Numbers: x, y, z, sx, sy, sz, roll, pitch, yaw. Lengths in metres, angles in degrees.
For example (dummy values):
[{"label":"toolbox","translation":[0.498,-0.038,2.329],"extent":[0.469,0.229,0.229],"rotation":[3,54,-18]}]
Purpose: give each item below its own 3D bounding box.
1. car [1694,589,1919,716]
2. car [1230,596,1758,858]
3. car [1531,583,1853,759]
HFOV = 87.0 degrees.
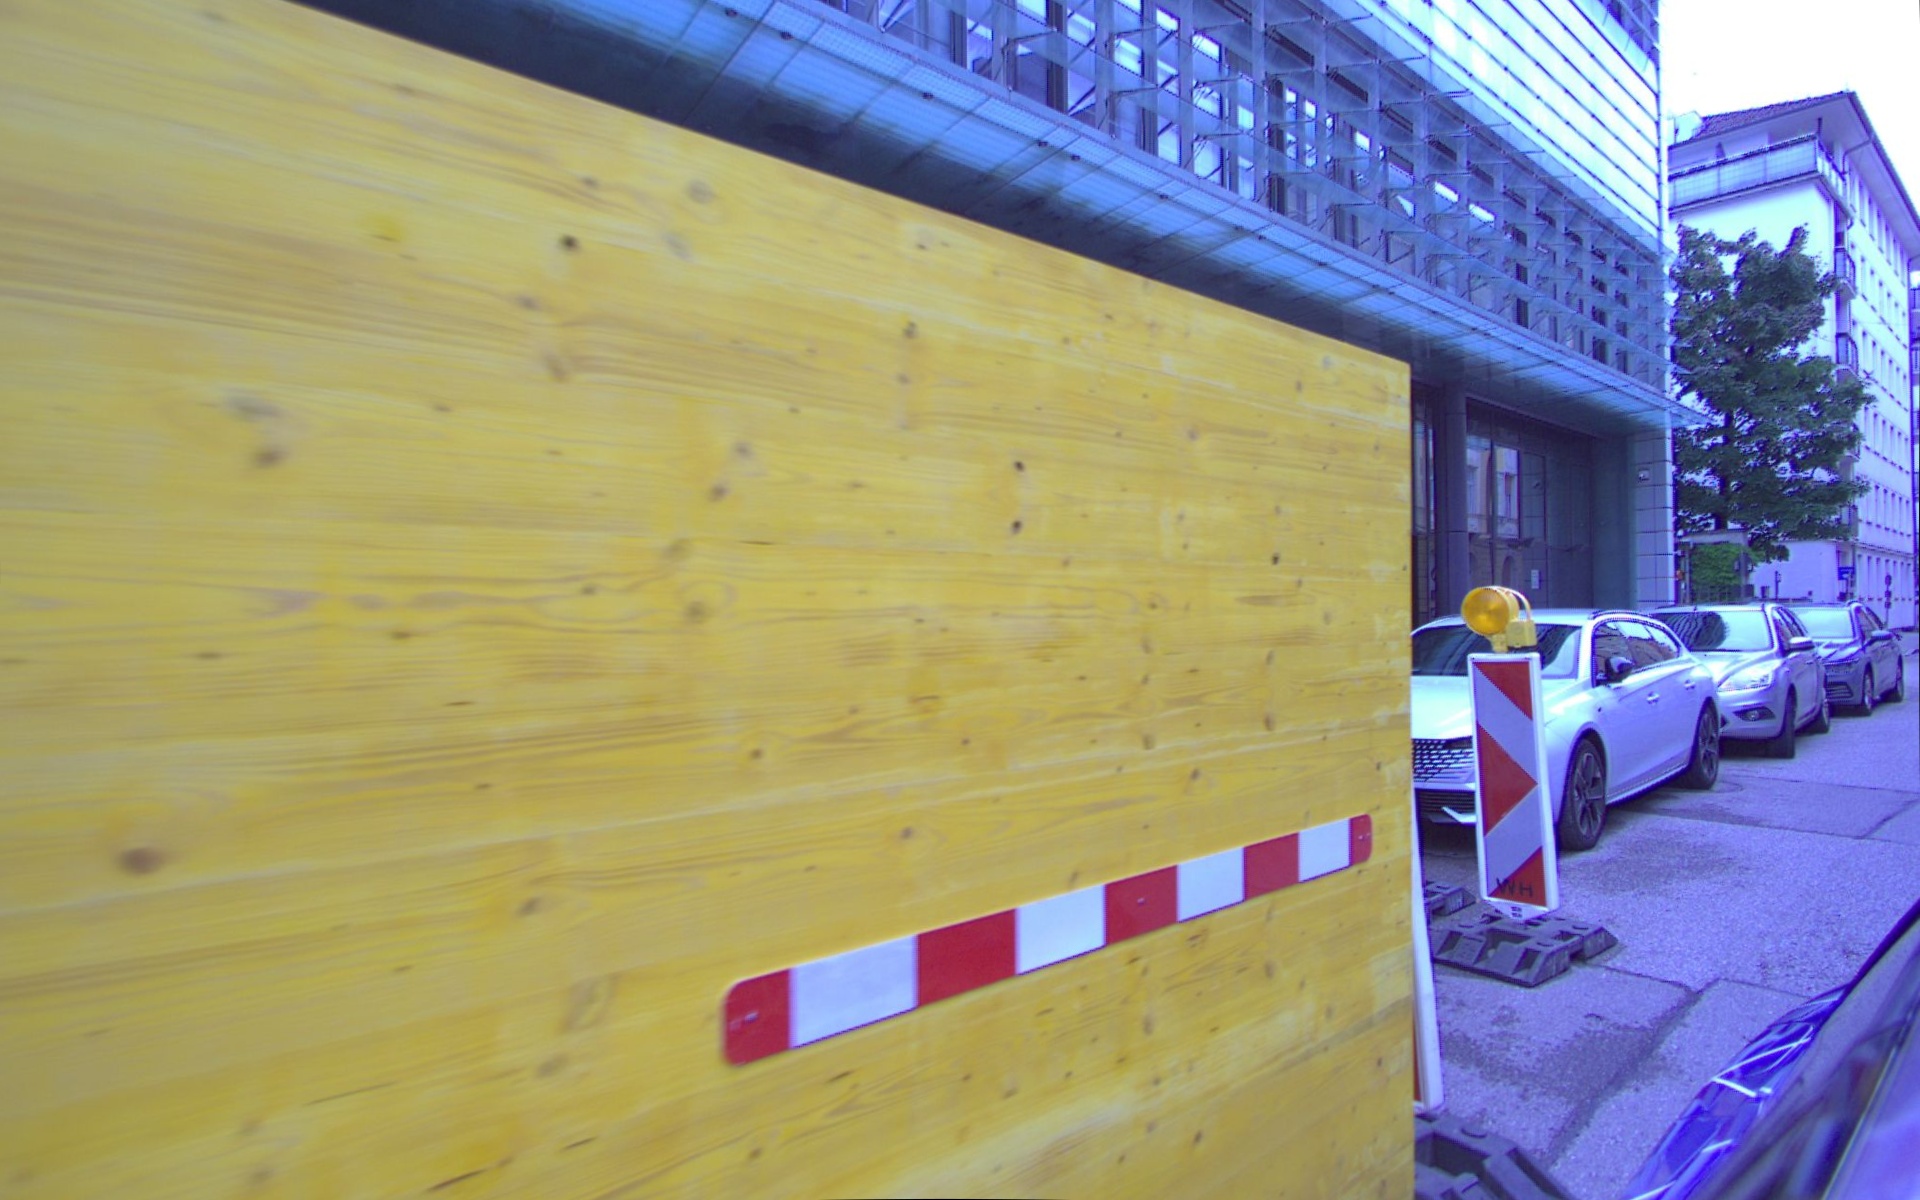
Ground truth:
[{"label":"car","translation":[11.903,0.635,14.109],"extent":[4.205,1.504,1.874],"rotation":[0,-1,-42]},{"label":"car","translation":[4.231,0.685,7.661],"extent":[4.577,1.392,1.997],"rotation":[0,-1,-41]},{"label":"car","translation":[7.970,0.651,10.870],"extent":[4.207,1.506,1.995],"rotation":[0,-3,-43]}]
